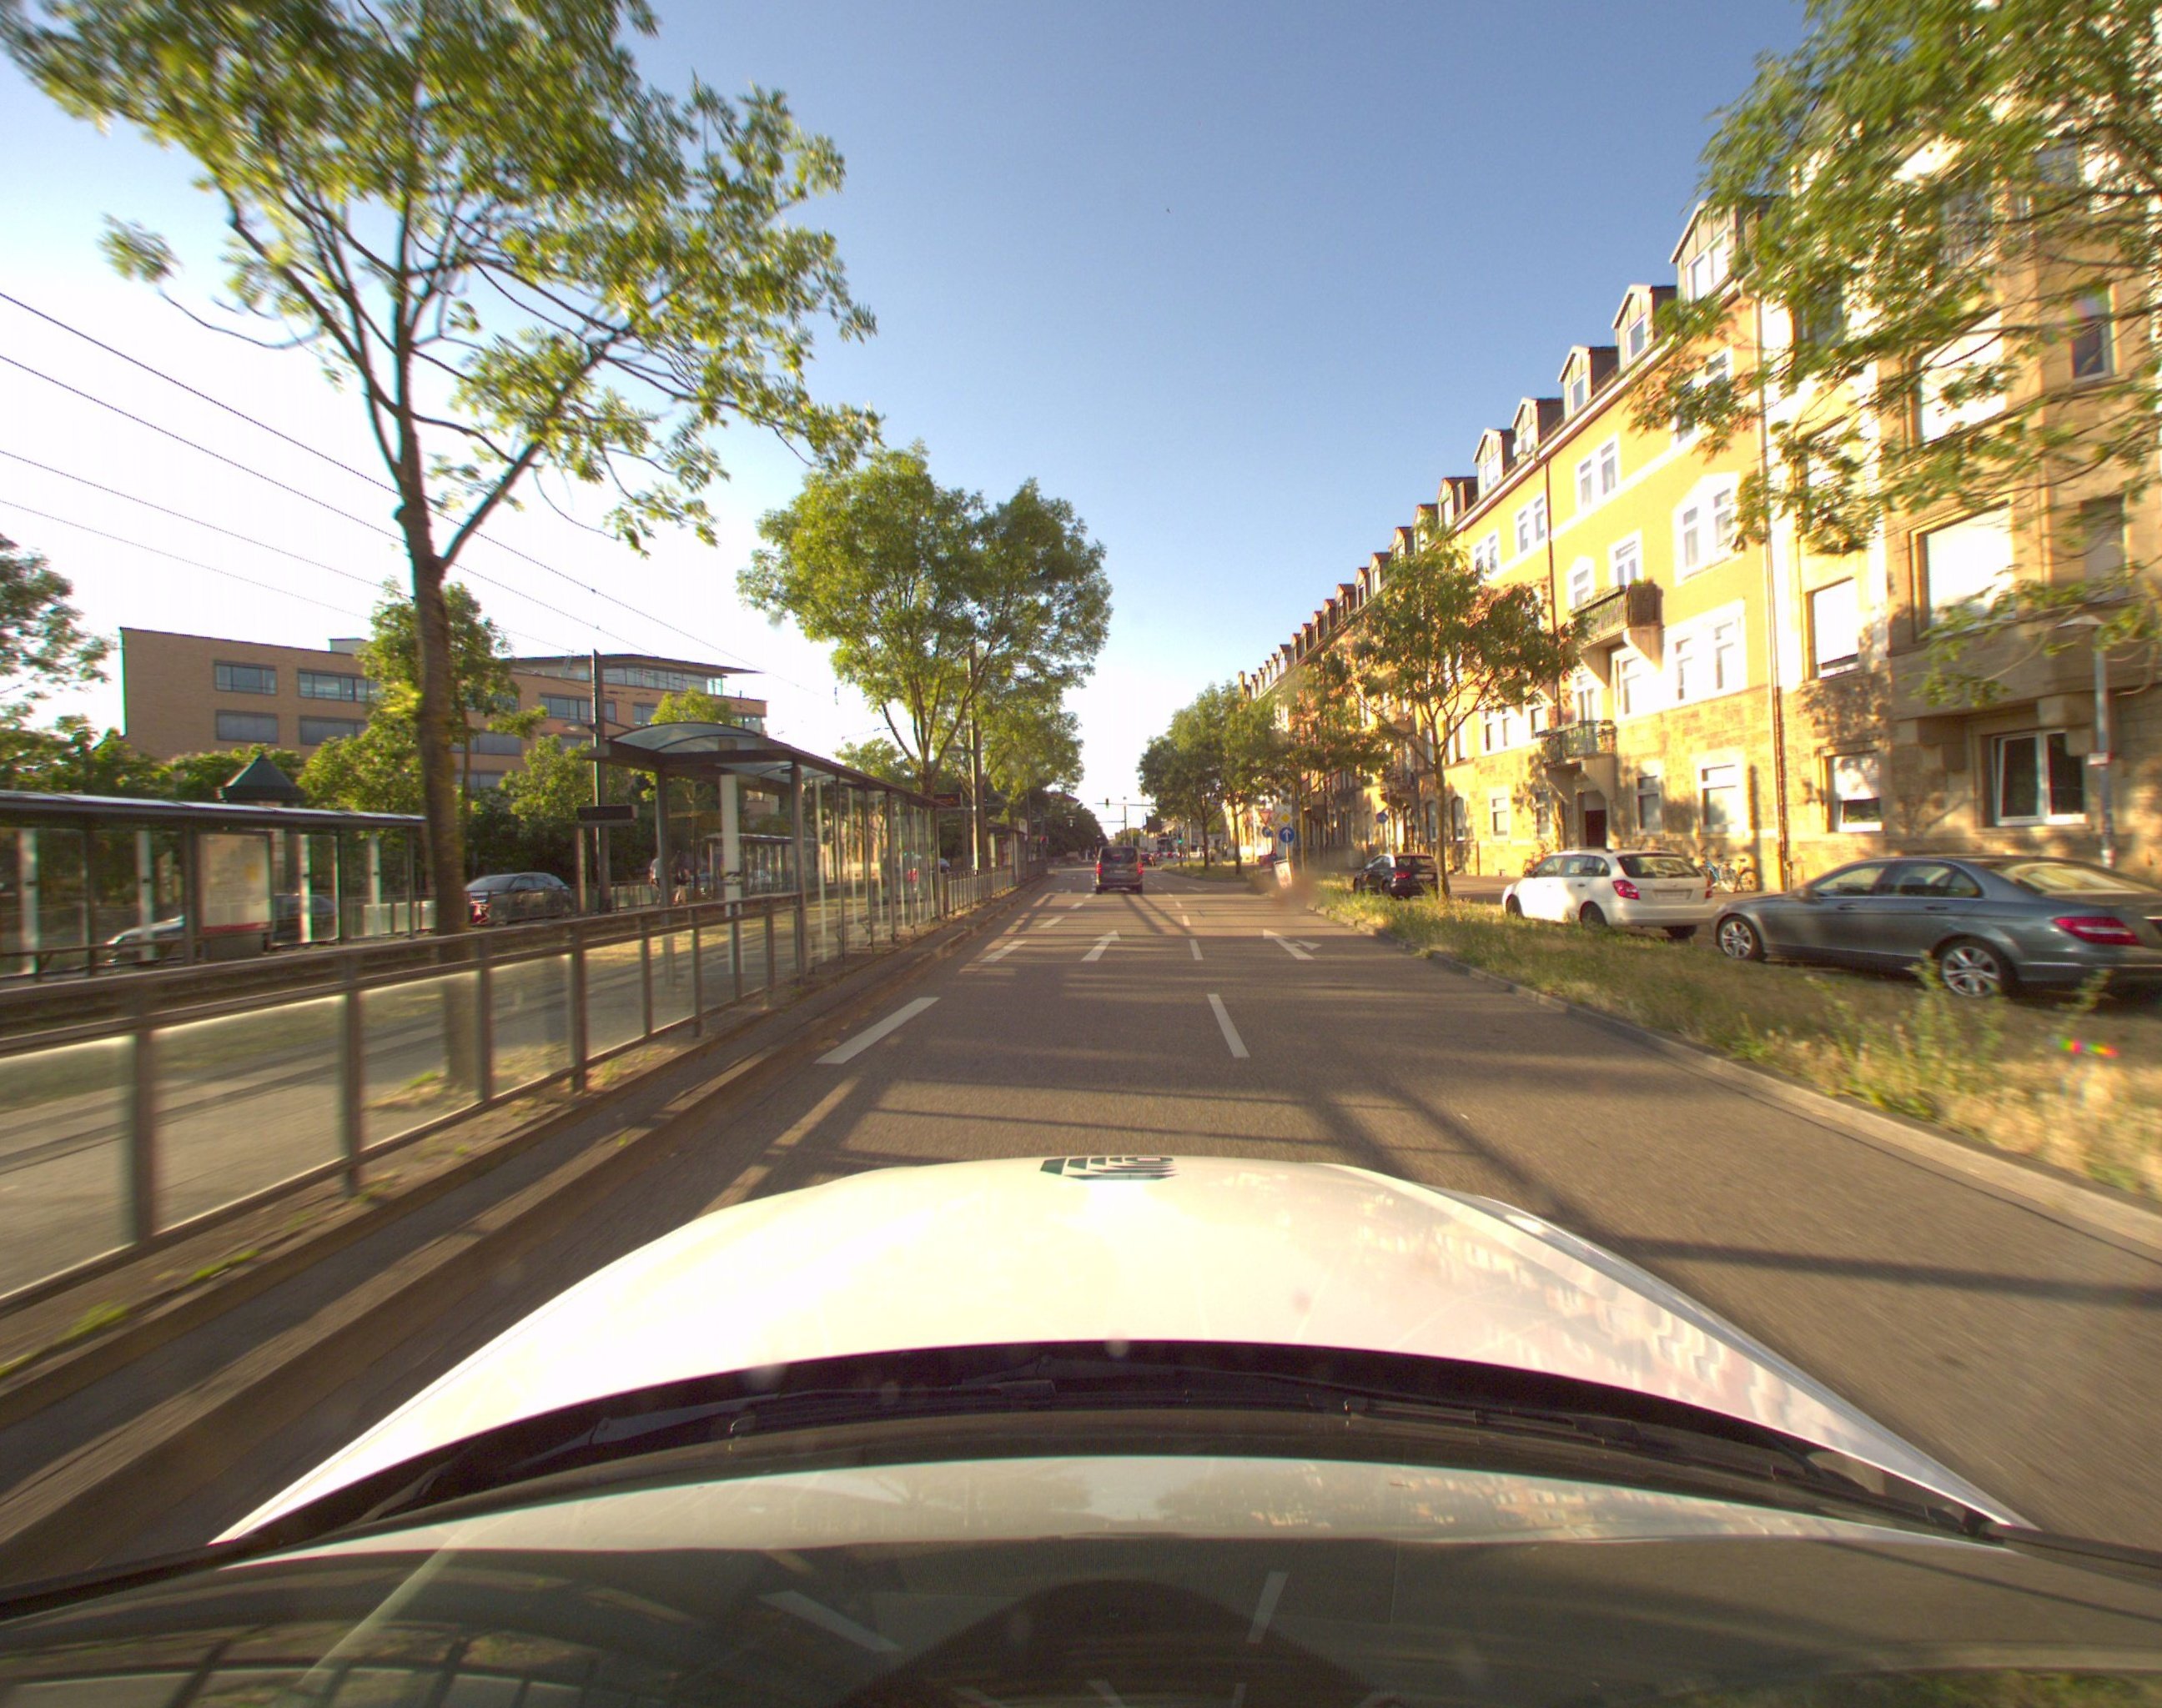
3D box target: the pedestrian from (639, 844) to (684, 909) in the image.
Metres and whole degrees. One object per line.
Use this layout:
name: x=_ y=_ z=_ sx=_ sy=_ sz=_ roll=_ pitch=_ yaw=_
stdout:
pedestrian: x=-13.574 y=0.717 z=26.374 sx=0.767 sy=2.013 sz=1.128 roll=-2 pitch=0 yaw=2

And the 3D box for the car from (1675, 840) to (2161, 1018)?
car: x=9.380 y=0.620 z=9.098 sx=1.939 sy=1.445 sz=4.908 roll=0 pitch=0 yaw=0

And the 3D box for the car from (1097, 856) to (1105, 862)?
car: x=6.253 y=1.511 z=255.029 sx=1.983 sy=1.595 sz=4.008 roll=-2 pitch=0 yaw=7

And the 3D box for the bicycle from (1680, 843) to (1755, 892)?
bicycle: x=16.550 y=0.335 z=21.230 sx=0.481 sy=1.165 sz=1.746 roll=-7 pitch=0 yaw=1

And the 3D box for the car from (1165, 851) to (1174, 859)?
car: x=22.000 y=0.253 z=203.085 sx=1.986 sy=1.656 sz=4.301 roll=-2 pitch=0 yaw=2

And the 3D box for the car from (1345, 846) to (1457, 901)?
car: x=9.308 y=0.522 z=24.095 sx=1.698 sy=1.448 sz=4.289 roll=1 pitch=0 yaw=1

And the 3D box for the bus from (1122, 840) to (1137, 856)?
bus: x=14.595 y=-1.860 z=245.106 sx=3.282 sy=4.617 sz=9.990 roll=-1 pitch=0 yaw=-3

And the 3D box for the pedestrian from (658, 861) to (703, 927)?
pedestrian: x=-12.659 y=1.235 z=25.782 sx=0.767 sy=2.013 sz=1.128 roll=-2 pitch=0 yaw=2

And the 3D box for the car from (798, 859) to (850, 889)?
car: x=-15.682 y=1.176 z=49.905 sx=1.853 sy=1.654 sz=4.000 roll=-2 pitch=0 yaw=0

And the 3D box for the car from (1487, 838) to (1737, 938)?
car: x=9.220 y=0.528 z=14.630 sx=1.720 sy=1.512 sz=4.271 roll=1 pitch=0 yaw=0

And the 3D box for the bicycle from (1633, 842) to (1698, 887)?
bicycle: x=16.572 y=0.291 z=23.133 sx=0.481 sy=1.165 sz=1.746 roll=-7 pitch=0 yaw=1

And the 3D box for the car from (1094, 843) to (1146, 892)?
car: x=1.568 y=0.528 z=33.410 sx=1.986 sy=1.901 sz=4.301 roll=0 pitch=0 yaw=2

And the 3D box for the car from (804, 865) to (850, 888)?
car: x=-17.077 y=1.510 z=54.959 sx=1.788 sy=1.415 sz=4.340 roll=-1 pitch=0 yaw=0

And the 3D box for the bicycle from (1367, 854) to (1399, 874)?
bicycle: x=15.068 y=0.487 z=40.714 sx=0.869 sy=0.916 sz=2.086 roll=-4 pitch=0 yaw=2

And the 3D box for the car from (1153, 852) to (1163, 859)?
car: x=19.679 y=0.359 z=208.221 sx=1.988 sy=1.656 sz=4.295 roll=-2 pitch=0 yaw=-2

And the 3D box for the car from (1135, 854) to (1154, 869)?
car: x=6.976 y=0.818 z=90.015 sx=1.985 sy=1.510 sz=4.003 roll=-1 pitch=0 yaw=3

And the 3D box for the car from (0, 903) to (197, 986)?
car: x=-20.224 y=1.754 z=16.080 sx=1.536 sy=1.298 sz=3.687 roll=-2 pitch=0 yaw=-2

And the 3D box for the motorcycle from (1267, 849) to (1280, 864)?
motorcycle: x=16.542 y=0.206 z=69.931 sx=0.552 sy=1.214 sz=2.071 roll=-1 pitch=0 yaw=-1

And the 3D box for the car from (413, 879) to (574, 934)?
car: x=-17.108 y=1.484 z=23.983 sx=1.686 sy=1.298 sz=4.003 roll=-2 pitch=0 yaw=3

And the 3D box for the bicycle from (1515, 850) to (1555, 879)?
bicycle: x=16.580 y=0.374 z=29.753 sx=0.481 sy=1.005 sz=1.746 roll=-2 pitch=0 yaw=1
